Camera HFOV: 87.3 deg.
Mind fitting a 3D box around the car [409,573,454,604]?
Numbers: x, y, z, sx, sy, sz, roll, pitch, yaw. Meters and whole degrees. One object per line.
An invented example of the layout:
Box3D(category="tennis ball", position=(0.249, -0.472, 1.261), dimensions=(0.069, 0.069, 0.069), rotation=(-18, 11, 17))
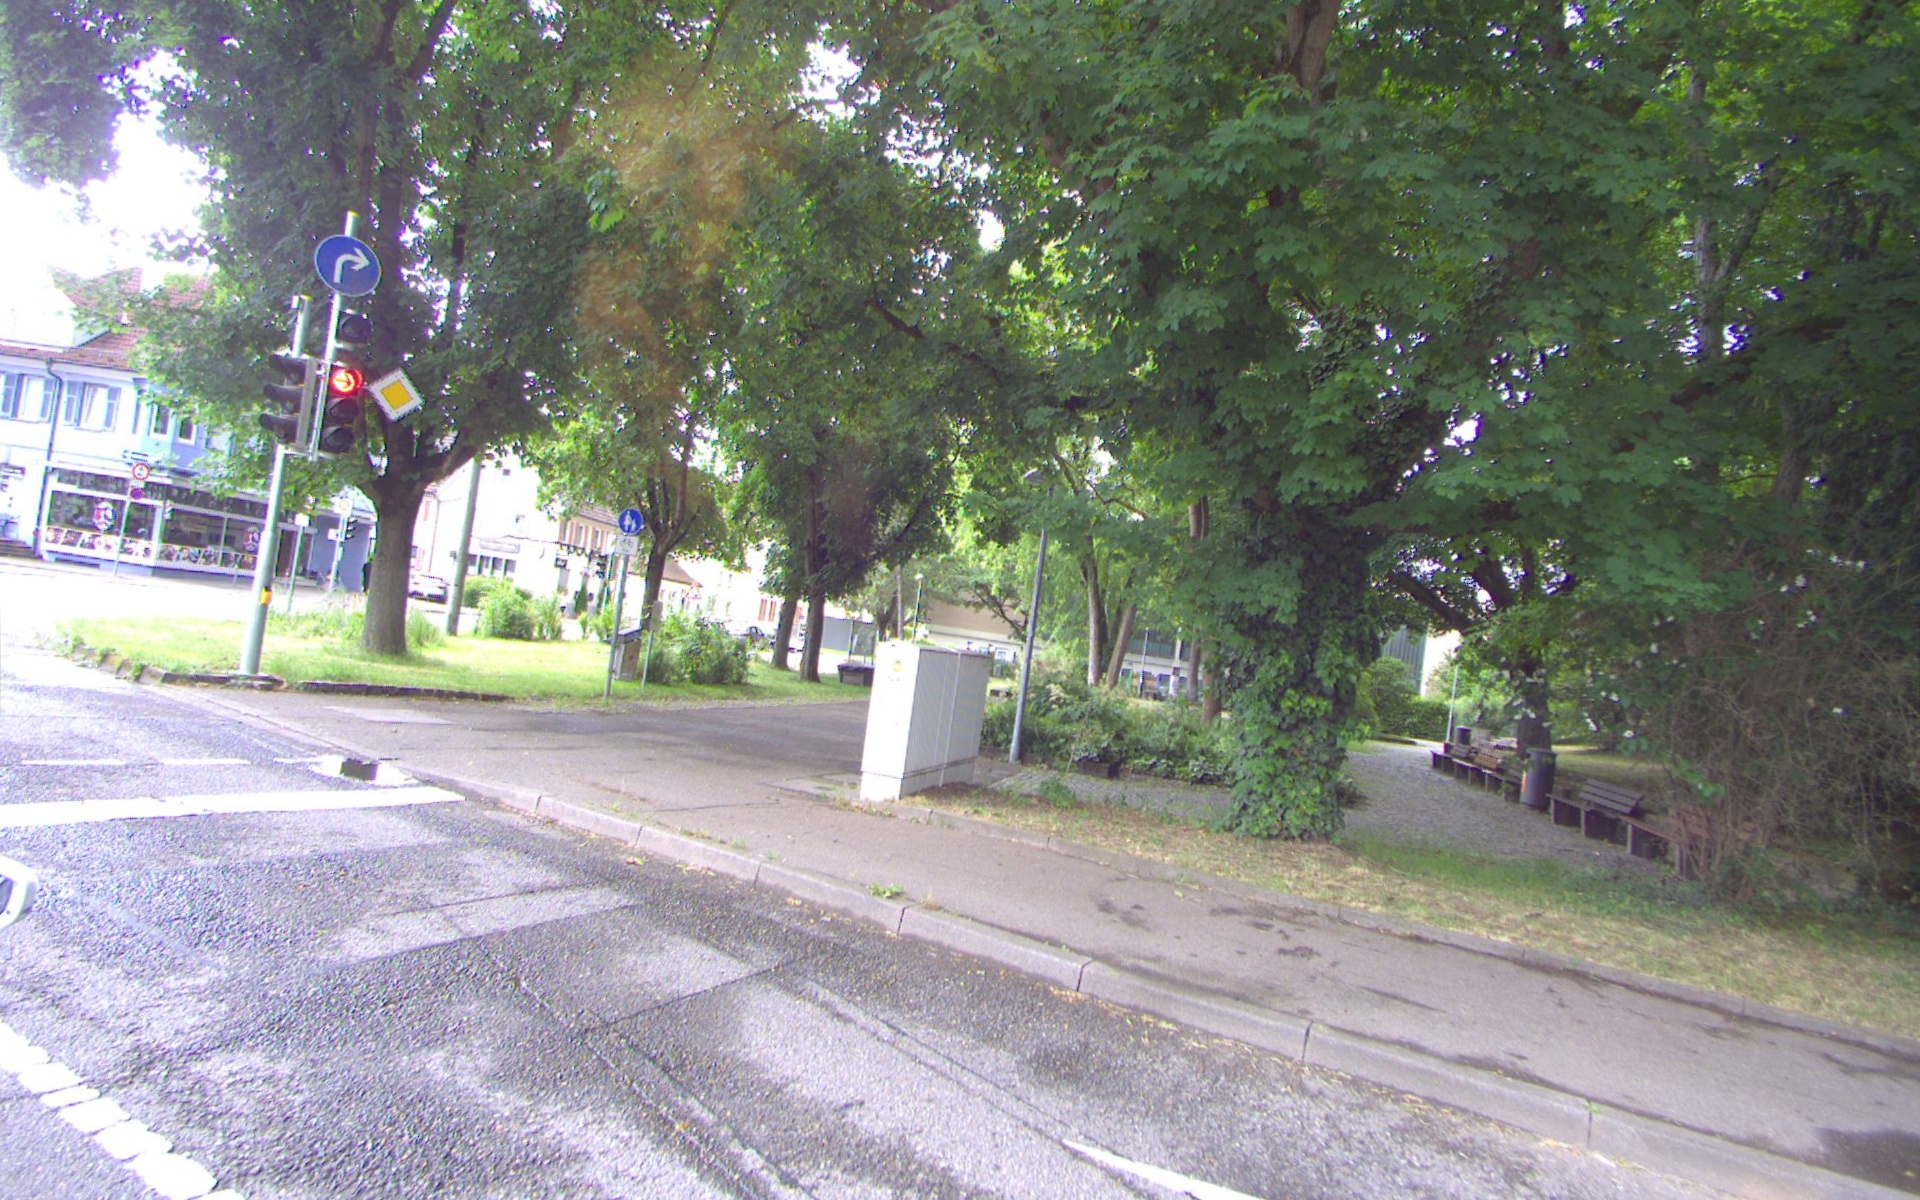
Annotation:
Box3D(category="car", position=(-27.881, -0.604, 53.146), dimensions=(1.479, 1.384, 3.166), rotation=(8, -2, -19))

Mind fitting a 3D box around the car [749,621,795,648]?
Box3D(category="car", position=(-11.177, 2.069, 60.108), dimensions=(1.530, 1.336, 3.514), rotation=(7, -2, 8))

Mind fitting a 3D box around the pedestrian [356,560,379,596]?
Box3D(category="pedestrian", position=(-27.266, -1.017, 46.294), dimensions=(0.576, 1.535, 0.460), rotation=(7, -1, 11))

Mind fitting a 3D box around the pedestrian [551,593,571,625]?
Box3D(category="pedestrian", position=(-22.068, 0.497, 55.608), dimensions=(0.600, 1.668, 0.610), rotation=(7, -1, 4))

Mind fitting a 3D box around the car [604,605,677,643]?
Box3D(category="car", position=(-14.019, 1.088, 44.359), dimensions=(1.530, 1.336, 3.514), rotation=(7, -2, 9))

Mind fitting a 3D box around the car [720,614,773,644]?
Box3D(category="car", position=(-11.578, 1.595, 54.823), dimensions=(1.530, 1.336, 3.514), rotation=(7, -2, 9))

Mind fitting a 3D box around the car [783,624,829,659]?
Box3D(category="car", position=(-10.066, 2.756, 66.177), dimensions=(1.750, 2.037, 4.005), rotation=(7, -2, 7))

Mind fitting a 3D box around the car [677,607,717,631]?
Box3D(category="car", position=(-19.381, 1.441, 74.251), dimensions=(1.528, 1.436, 4.005), rotation=(7, -2, 4))
